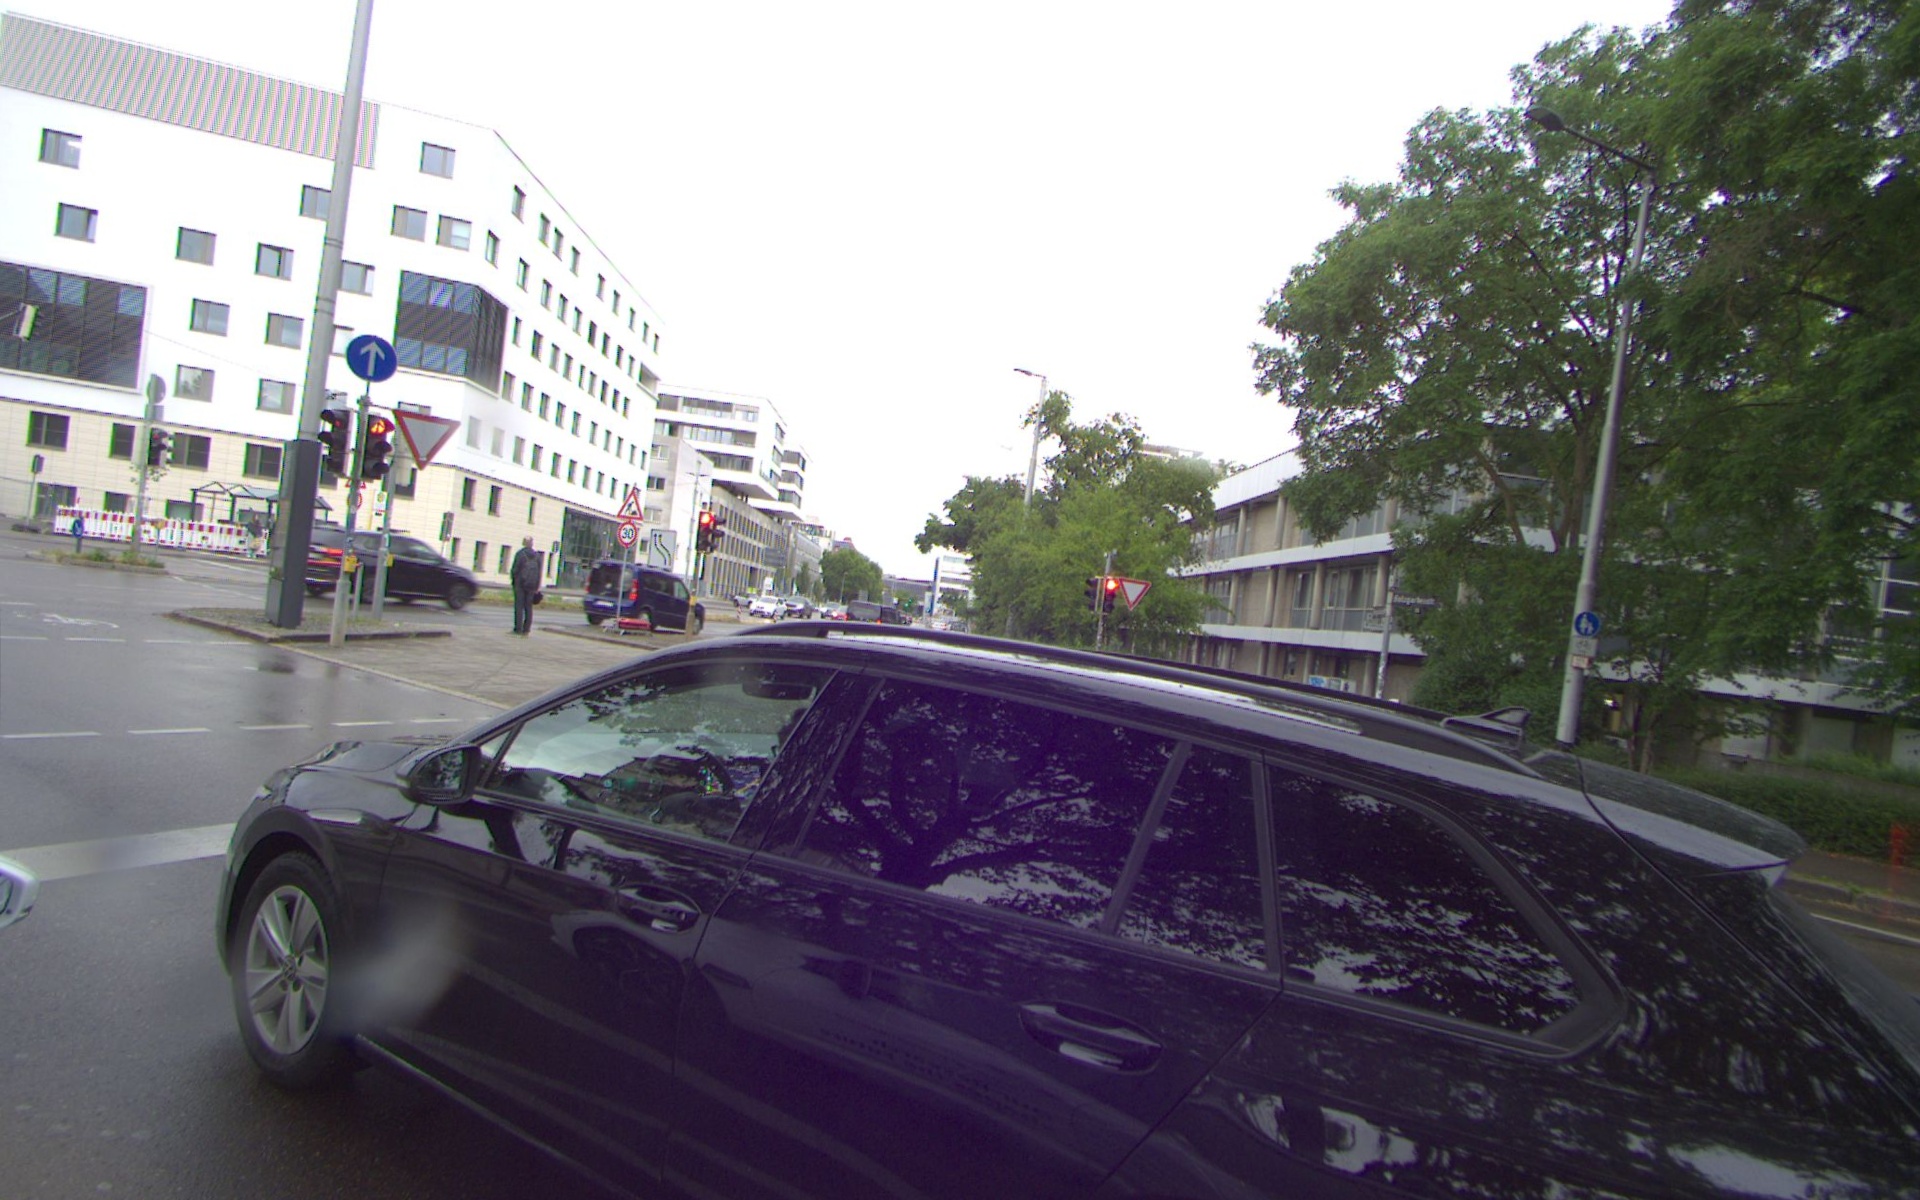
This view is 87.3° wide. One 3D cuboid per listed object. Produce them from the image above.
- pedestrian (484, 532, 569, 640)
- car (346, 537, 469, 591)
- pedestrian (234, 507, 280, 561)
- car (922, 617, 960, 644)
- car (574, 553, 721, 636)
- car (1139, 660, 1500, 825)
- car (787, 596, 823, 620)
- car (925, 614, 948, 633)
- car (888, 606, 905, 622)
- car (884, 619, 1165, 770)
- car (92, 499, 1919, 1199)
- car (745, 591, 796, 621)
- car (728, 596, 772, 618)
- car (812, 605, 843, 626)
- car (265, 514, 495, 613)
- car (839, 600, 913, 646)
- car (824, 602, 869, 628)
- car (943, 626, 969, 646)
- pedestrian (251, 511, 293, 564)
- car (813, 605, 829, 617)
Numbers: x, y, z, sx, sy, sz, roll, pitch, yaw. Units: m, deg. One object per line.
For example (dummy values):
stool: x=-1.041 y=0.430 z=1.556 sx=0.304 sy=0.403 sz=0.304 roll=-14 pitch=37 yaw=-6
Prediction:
pedestrian: x=-8.335 y=-0.255 z=19.372 sx=1.009 sy=1.913 sz=0.830 roll=6 pitch=-2 yaw=23
car: x=-21.675 y=-1.387 z=39.632 sx=1.764 sy=1.460 sz=4.006 roll=8 pitch=-3 yaw=17
pedestrian: x=-26.728 y=-2.502 z=38.256 sx=0.808 sy=1.861 sz=0.955 roll=6 pitch=-2 yaw=20
car: x=-1.349 y=2.273 z=74.654 sx=1.962 sy=1.693 sz=4.974 roll=7 pitch=-1 yaw=8
car: x=-9.074 y=-0.092 z=29.620 sx=1.764 sy=1.930 sz=4.312 roll=8 pitch=-1 yaw=18
car: x=4.837 y=1.899 z=14.129 sx=1.853 sy=1.467 sz=4.359 roll=9 pitch=-2 yaw=-37
car: x=-12.517 y=0.677 z=81.479 sx=1.963 sy=1.684 sz=4.389 roll=8 pitch=-1 yaw=1
car: x=-2.487 y=2.508 z=105.882 sx=1.835 sy=1.669 sz=4.777 roll=7 pitch=-3 yaw=-6
car: x=-8.185 y=1.798 z=128.879 sx=1.835 sy=1.669 sz=4.777 roll=7 pitch=-3 yaw=-5
car: x=0.771 y=1.270 z=14.407 sx=1.851 sy=1.467 sz=3.964 roll=9 pitch=-1 yaw=-34
car: x=-0.272 y=0.762 z=2.720 sx=4.435 sy=1.483 sz=1.673 roll=8 pitch=-1 yaw=30
car: x=-12.732 y=0.433 z=67.735 sx=1.763 sy=1.460 sz=4.006 roll=8 pitch=-2 yaw=13
car: x=-20.746 y=0.722 z=99.294 sx=4.003 sy=1.575 sz=1.962 roll=7 pitch=-3 yaw=38
car: x=-12.586 y=1.513 z=95.881 sx=1.930 sy=1.554 sz=4.164 roll=8 pitch=-2 yaw=4
car: x=-13.667 y=-0.781 z=24.109 sx=1.764 sy=1.726 sz=4.691 roll=8 pitch=-1 yaw=17
car: x=-3.928 y=1.140 z=47.920 sx=1.962 sy=1.831 sz=4.790 roll=8 pitch=0 yaw=12
car: x=-9.411 y=1.248 z=83.697 sx=1.930 sy=1.574 sz=4.536 roll=8 pitch=-3 yaw=16
car: x=-0.341 y=3.212 z=90.187 sx=1.832 sy=1.437 sz=4.006 roll=7 pitch=-3 yaw=6
pedestrian: x=-27.757 y=-2.525 z=40.594 sx=0.941 sy=1.957 sz=1.001 roll=5 pitch=-2 yaw=41
car: x=-21.086 y=1.710 z=152.022 sx=1.936 sy=1.466 sz=4.152 roll=9 pitch=-2 yaw=-12
